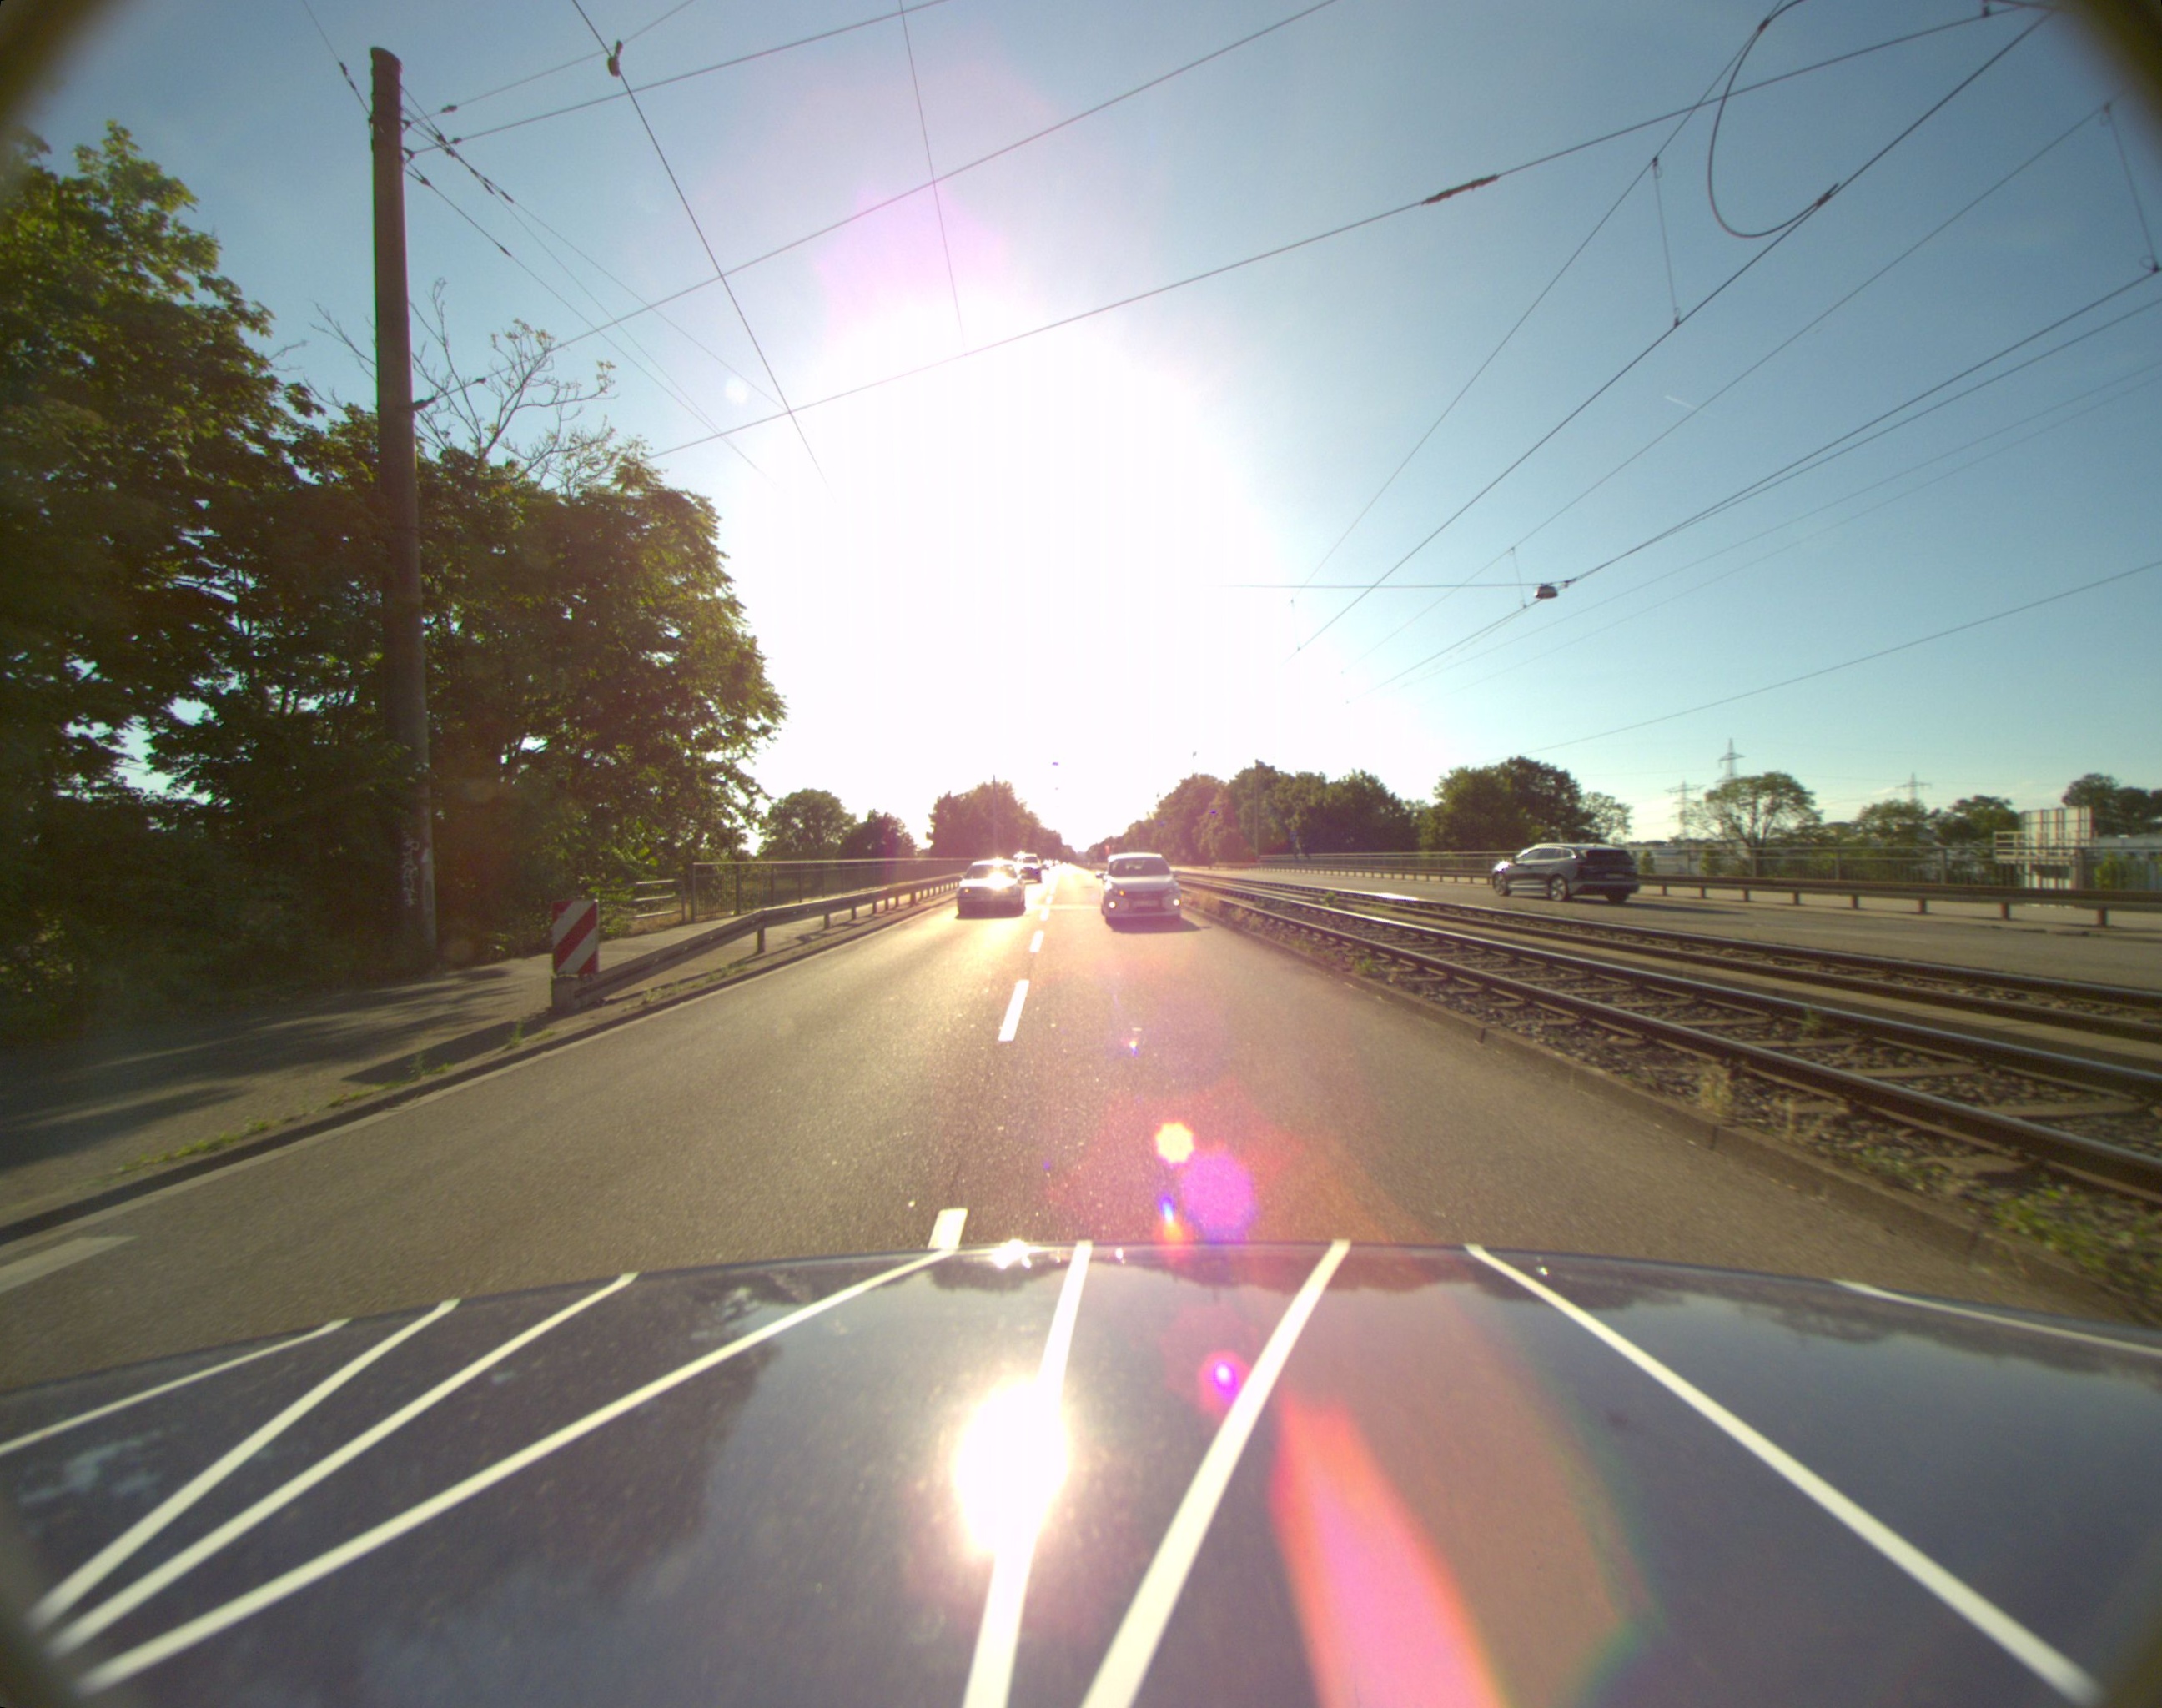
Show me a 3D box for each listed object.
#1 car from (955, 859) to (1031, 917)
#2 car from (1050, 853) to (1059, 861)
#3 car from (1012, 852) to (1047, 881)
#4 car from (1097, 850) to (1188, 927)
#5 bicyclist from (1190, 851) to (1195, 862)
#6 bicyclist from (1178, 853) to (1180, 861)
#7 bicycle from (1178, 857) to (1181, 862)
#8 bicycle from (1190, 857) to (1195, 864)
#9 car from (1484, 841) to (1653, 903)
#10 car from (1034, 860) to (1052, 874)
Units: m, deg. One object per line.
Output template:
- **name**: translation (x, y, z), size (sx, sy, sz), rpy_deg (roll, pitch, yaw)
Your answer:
- **car**: translation (-2.435, 0.896, 21.906), size (1.693, 1.409, 4.134), rpy_deg (-2, 1, 0)
- **car**: translation (-5.713, 0.674, 164.064), size (1.905, 1.512, 3.956), rpy_deg (-2, 1, -1)
- **car**: translation (-2.942, 0.673, 43.988), size (1.709, 1.512, 3.843), rpy_deg (-2, 1, 0)
- **car**: translation (1.310, 0.696, 17.555), size (1.709, 1.503, 3.862), rpy_deg (-2, 1, 0)
- **bicyclist**: translation (17.843, 0.453, 121.768), size (0.498, 1.741, 0.833), rpy_deg (-2, 1, -2)
- **bicyclist**: translation (18.086, 0.526, 140.403), size (0.423, 1.420, 0.754), rpy_deg (-2, 1, 5)
- **bicycle**: translation (18.106, 0.987, 140.336), size (0.426, 0.958, 1.913), rpy_deg (-2, 1, 5)
- **bicycle**: translation (17.871, 1.061, 121.760), size (0.505, 1.046, 1.727), rpy_deg (-2, 1, -1)
- **car**: translation (13.865, 0.445, 22.038), size (1.713, 1.571, 4.800), rpy_deg (0, 1, -2)
- **car**: translation (-4.388, 1.488, 88.399), size (1.905, 1.512, 3.956), rpy_deg (-2, 1, 0)
